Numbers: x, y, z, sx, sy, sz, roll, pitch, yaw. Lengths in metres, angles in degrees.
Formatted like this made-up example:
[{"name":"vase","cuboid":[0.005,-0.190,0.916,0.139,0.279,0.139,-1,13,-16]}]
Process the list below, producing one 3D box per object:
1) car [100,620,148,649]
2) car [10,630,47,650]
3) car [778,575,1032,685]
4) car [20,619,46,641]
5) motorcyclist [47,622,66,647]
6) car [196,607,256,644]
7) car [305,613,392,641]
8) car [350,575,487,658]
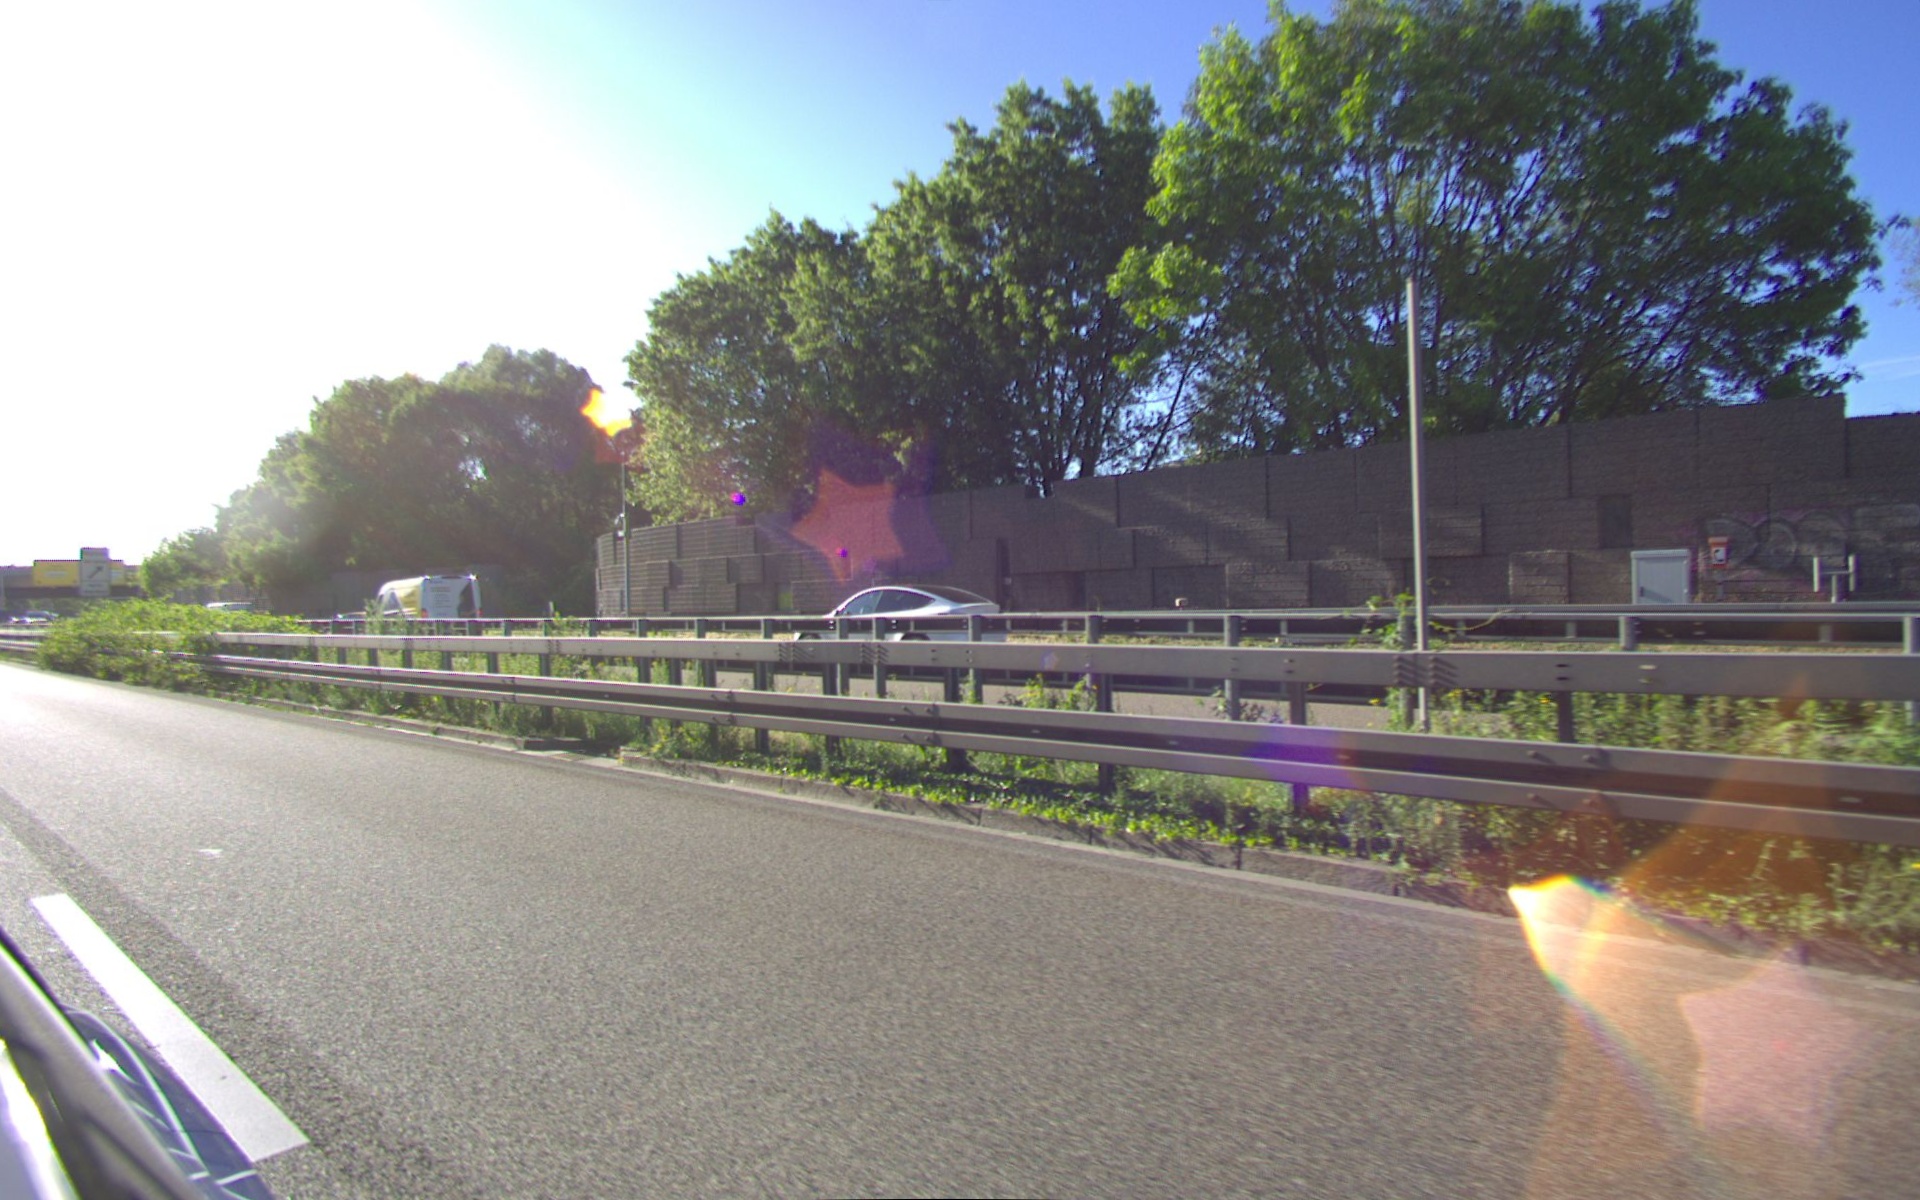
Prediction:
[{"name":"car","cuboid":[-57.960,2.422,70.152,4.620,1.835,1.803,-3,1,42]},{"name":"car","cuboid":[-79.848,3.409,86.736,4.618,1.491,1.803,-3,1,41]},{"name":"car","cuboid":[-1.154,0.572,19.406,4.782,1.796,1.973,-3,1,41]},{"name":"car","cuboid":[-120.949,3.903,131.993,6.591,2.703,2.097,-3,1,45]},{"name":"motorcyclist","cuboid":[-62.322,2.390,69.818,1.046,1.637,0.813,-3,1,41]},{"name":"car","cuboid":[-50.108,1.779,69.059,5.371,2.297,2.055,-3,1,41]},{"name":"car","cuboid":[-36.269,1.594,60.098,4.052,1.343,1.997,-3,1,10]},{"name":"car","cuboid":[-19.115,0.623,35.575,6.048,2.630,2.125,-3,1,41]}]
